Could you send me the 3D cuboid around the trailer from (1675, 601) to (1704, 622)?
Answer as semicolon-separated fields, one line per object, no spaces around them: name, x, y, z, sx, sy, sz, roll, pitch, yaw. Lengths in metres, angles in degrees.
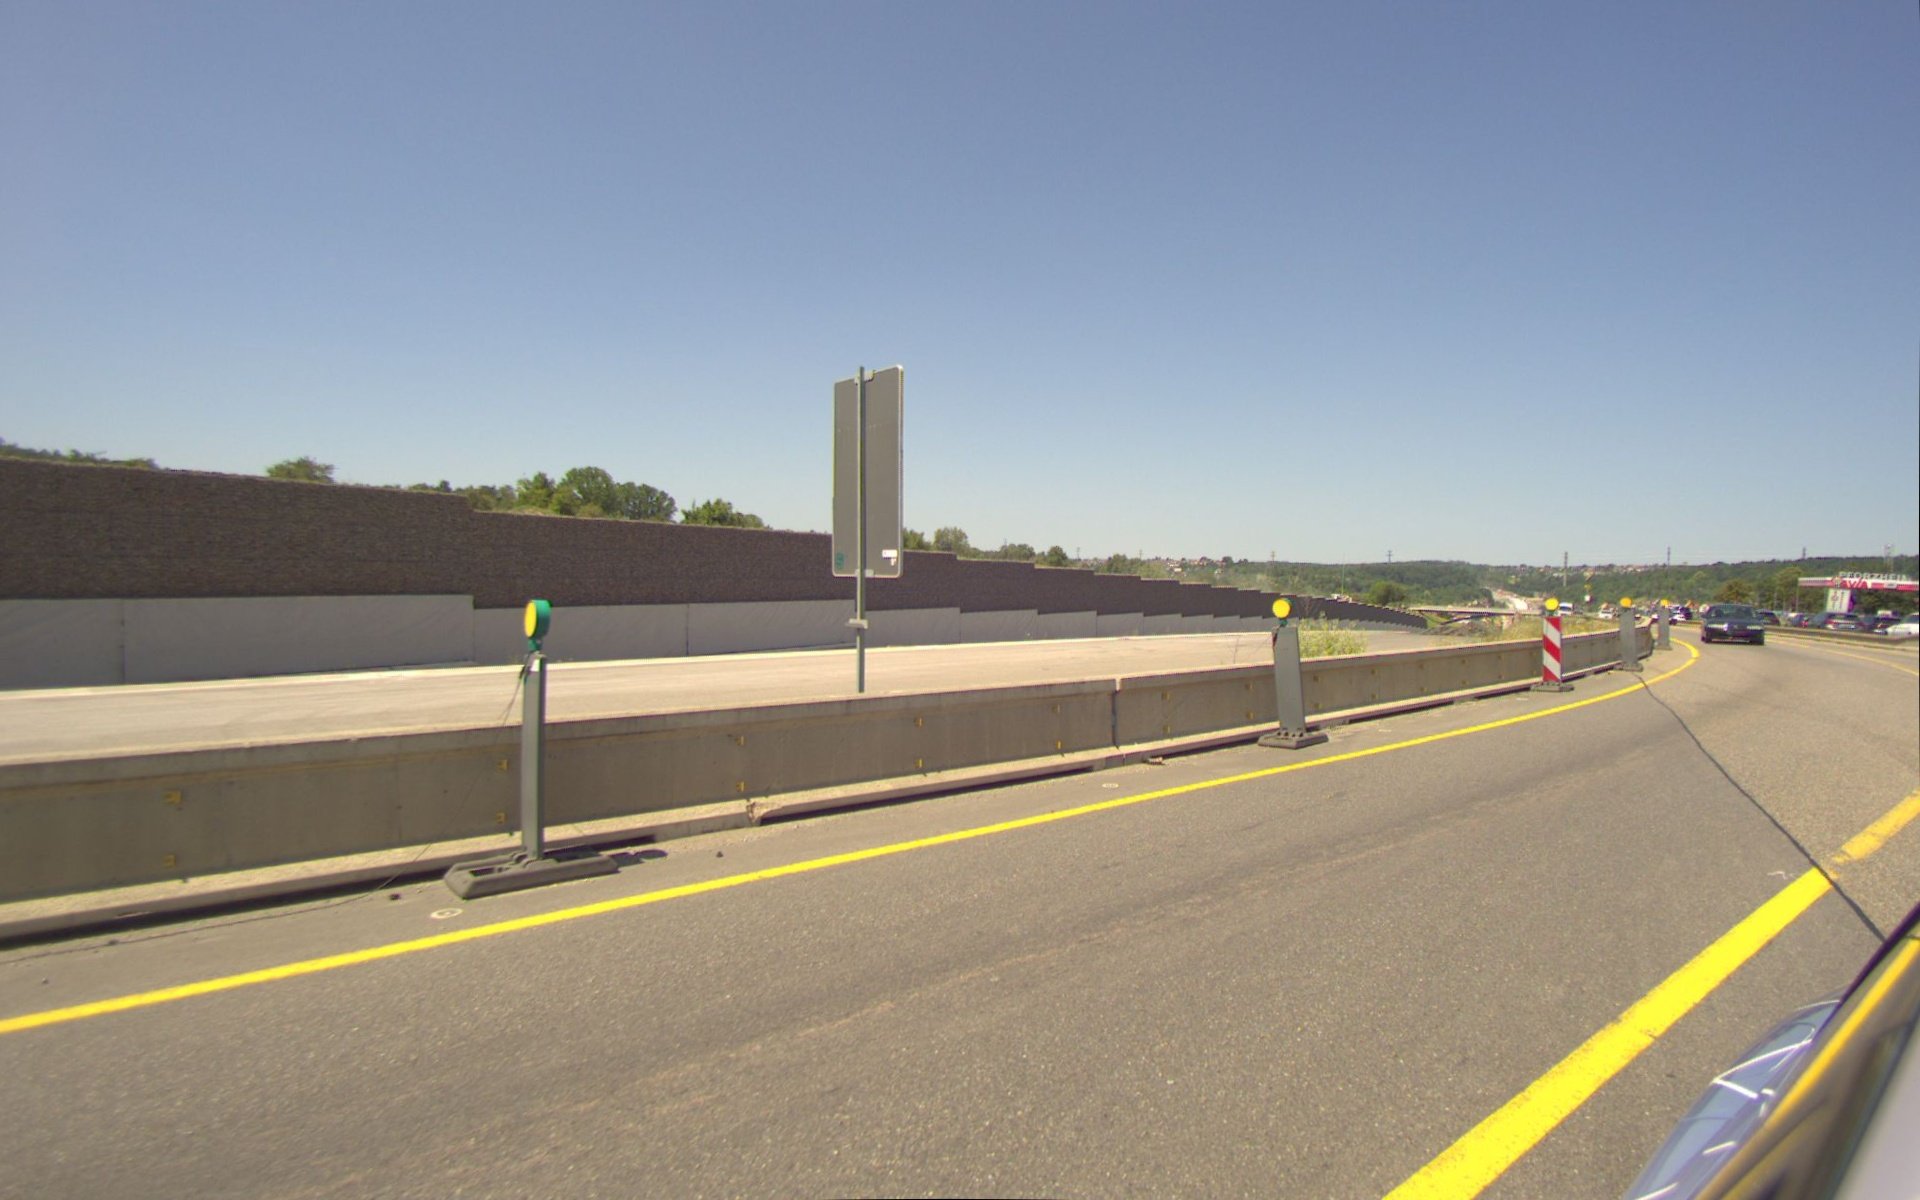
trailer;88.058;1.447;122.249;2.171;2.343;5.554;4;1;29

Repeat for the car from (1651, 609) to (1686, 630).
car;57.624;1.552;82.374;1.802;1.683;3.961;0;-1;28

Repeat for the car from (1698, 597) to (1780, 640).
car;27.744;0.684;36.170;1.798;1.323;3.955;4;1;31

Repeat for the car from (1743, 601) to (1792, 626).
car;53.237;0.874;66.797;1.766;1.445;4.718;5;2;30

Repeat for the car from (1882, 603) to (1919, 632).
car;47.898;0.863;50.418;1.983;1.417;4.530;0;-1;30

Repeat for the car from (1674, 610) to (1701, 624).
car;73.470;1.711;102.231;1.807;1.393;4.202;0;-1;30

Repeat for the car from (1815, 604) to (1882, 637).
car;44.045;0.993;50.242;1.581;1.458;4.081;5;2;30

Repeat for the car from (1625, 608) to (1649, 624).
car;73.064;1.740;109.252;1.693;1.705;3.751;0;0;28

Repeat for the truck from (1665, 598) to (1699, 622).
truck;91.374;1.272;128.159;2.468;2.859;8.042;3;1;30

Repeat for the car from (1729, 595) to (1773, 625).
car;69.230;0.943;88.639;1.903;2.430;6.385;-4;-3;29

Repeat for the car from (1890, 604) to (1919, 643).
car;37.012;0.877;37.970;2.004;1.463;4.541;0;0;28
